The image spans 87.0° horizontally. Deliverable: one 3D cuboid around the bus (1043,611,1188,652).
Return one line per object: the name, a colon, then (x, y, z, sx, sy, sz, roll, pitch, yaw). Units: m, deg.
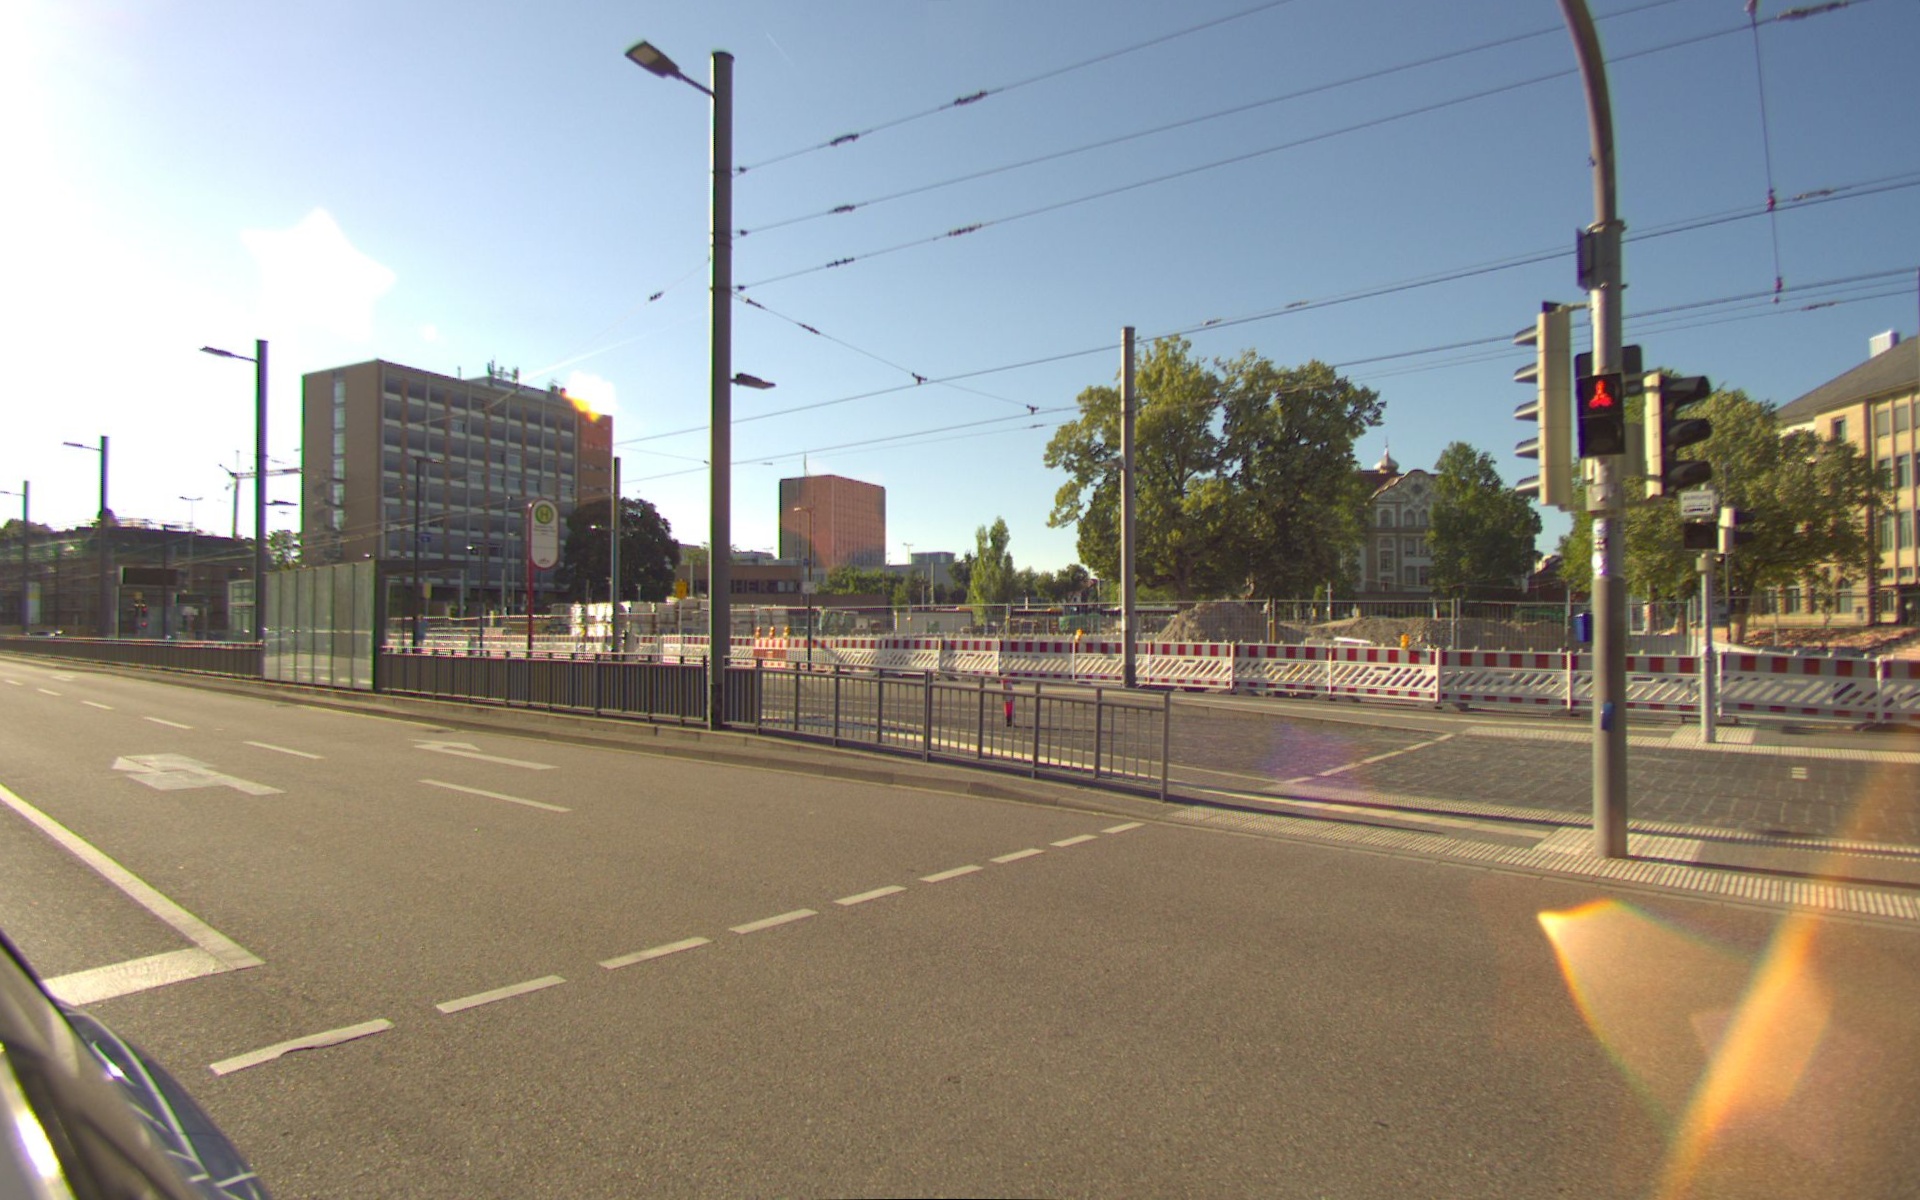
bus: (14.040, 2.913, 92.119, 12.465, 3.219, 3.255, -1, -5, -6)

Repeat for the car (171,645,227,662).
car: (-80.271, 5.673, 106.802, 4.629, 1.697, 2.005, 1, -6, -35)

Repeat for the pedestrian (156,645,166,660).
pedestrian: (-89.698, 5.894, 113.593, 0.612, 1.753, 0.667, 1, -2, -8)

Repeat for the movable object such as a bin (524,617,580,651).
movable object such as a bin: (-22.363, 1.887, 55.438, 3.861, 1.599, 1.161, -6, -6, 40)

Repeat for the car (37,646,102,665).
car: (-89.493, 5.573, 101.770, 4.629, 1.697, 2.005, 1, -6, -35)

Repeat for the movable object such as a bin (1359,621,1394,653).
movable object such as a bin: (29.094, 2.638, 70.779, 1.985, 2.029, 3.973, -4, -5, 20)

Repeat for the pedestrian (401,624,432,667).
pedestrian: (-23.754, 1.999, 44.238, 1.179, 1.782, 0.794, -6, -6, 40)

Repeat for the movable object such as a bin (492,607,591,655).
movable object such as a bin: (-24.872, 1.896, 60.131, 5.135, 2.545, 2.615, -4, -5, 23)
